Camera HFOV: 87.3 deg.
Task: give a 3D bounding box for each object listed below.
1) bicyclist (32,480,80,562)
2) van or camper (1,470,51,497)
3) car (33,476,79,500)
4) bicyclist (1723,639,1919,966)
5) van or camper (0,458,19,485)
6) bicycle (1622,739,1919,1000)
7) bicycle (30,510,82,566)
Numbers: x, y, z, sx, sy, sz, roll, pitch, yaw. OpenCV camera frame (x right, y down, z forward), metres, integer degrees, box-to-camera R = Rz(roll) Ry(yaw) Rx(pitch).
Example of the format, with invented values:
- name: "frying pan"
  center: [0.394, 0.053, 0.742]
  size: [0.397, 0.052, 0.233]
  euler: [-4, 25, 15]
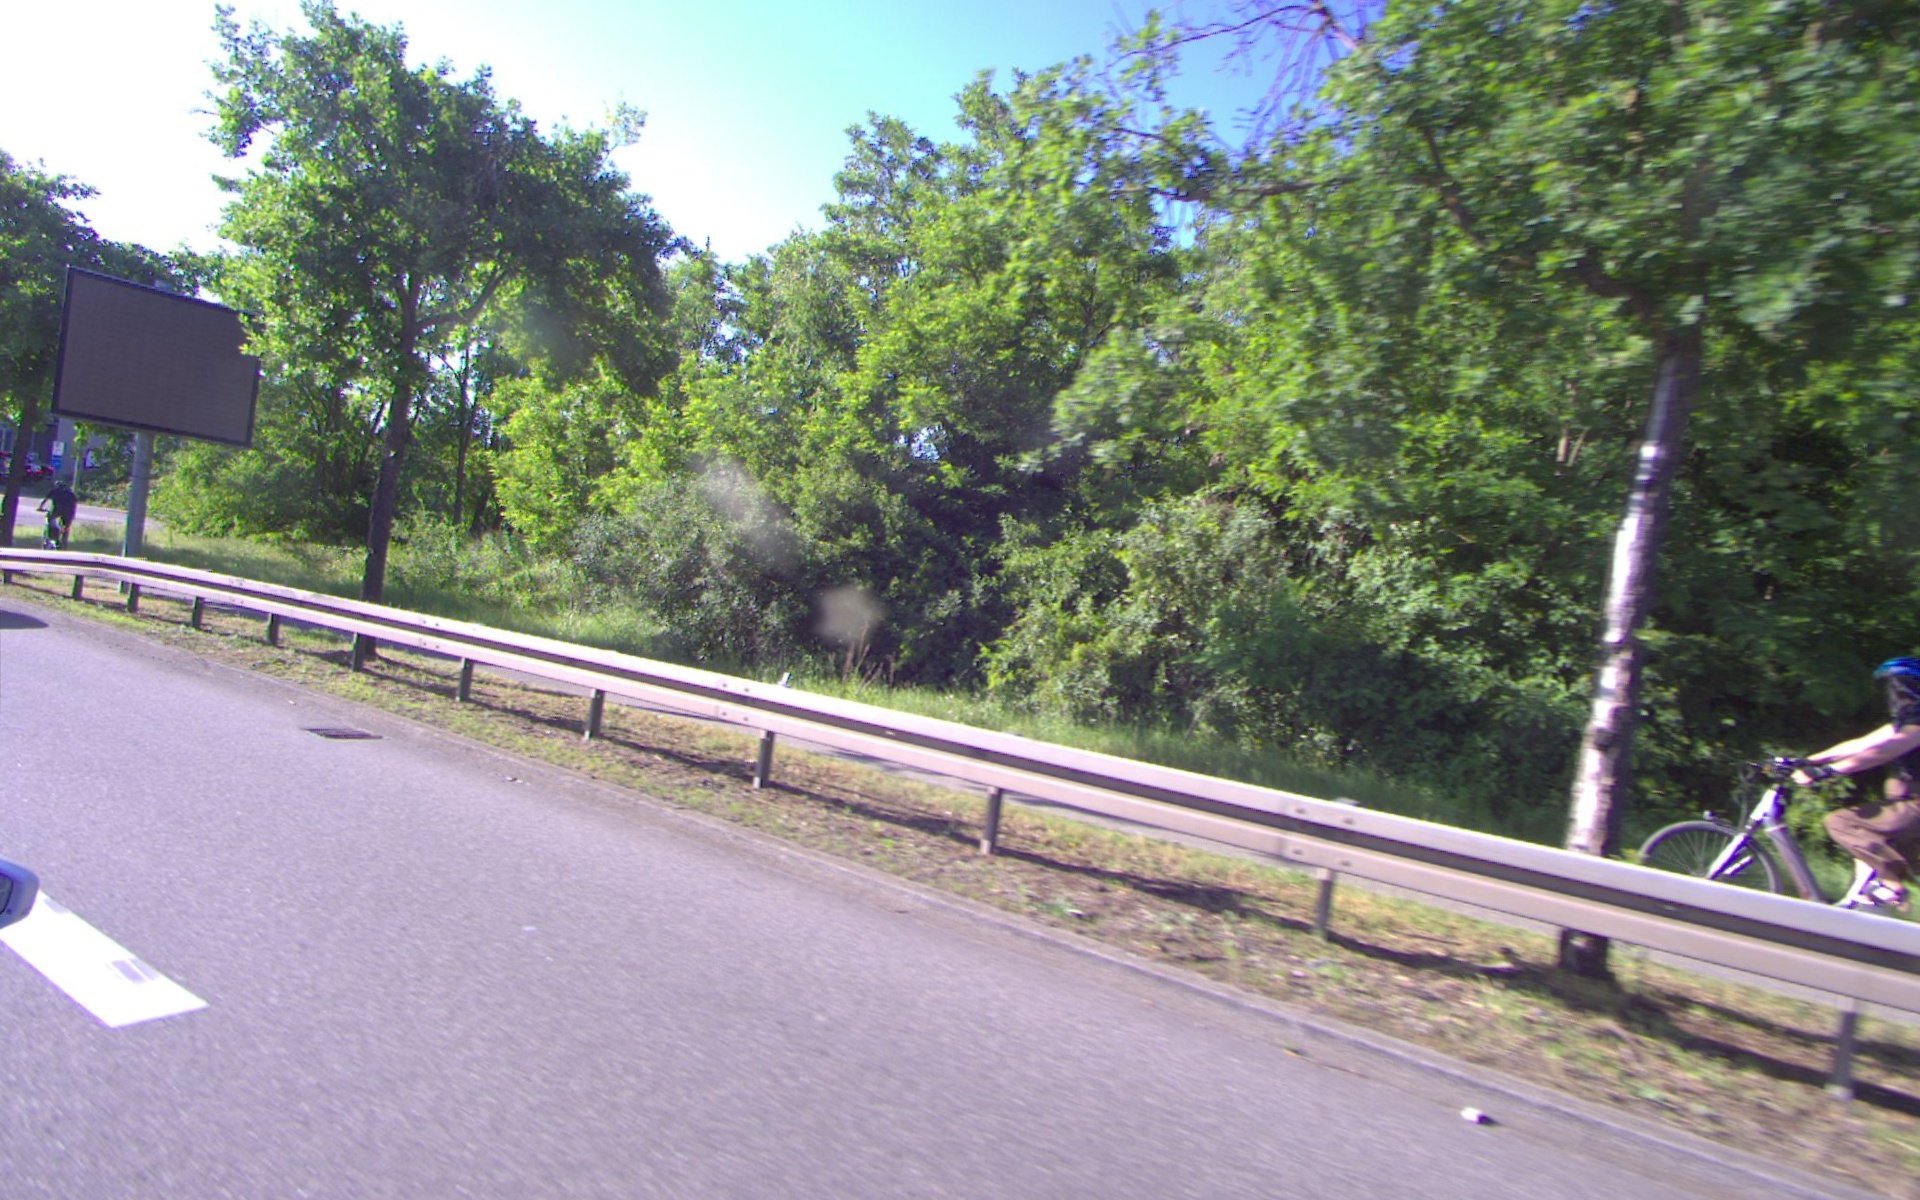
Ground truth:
- name: "bicyclist"
  center: [-21.237, -1.849, 23.631]
  size: [0.935, 1.800, 0.673]
  euler: [8, 3, 43]
- name: "van or camper"
  center: [-80.437, -9.995, 86.679]
  size: [1.738, 1.835, 3.934]
  euler: [9, 0, -24]
- name: "car"
  center: [-75.123, -9.285, 83.655]
  size: [1.693, 1.541, 3.719]
  euler: [9, 0, -24]
- name: "bicyclist"
  center: [5.002, 1.081, 5.590]
  size: [0.988, 1.599, 0.707]
  euler: [8, 2, 34]
- name: "van or camper"
  center: [-70.166, -9.469, 72.749]
  size: [1.812, 1.812, 4.510]
  euler: [9, 0, -29]
- name: "bicycle"
  center: [4.900, 1.500, 5.634]
  size: [1.890, 1.088, 0.701]
  euler: [7, 2, 34]
- name: "bicycle"
  center: [-21.081, -1.459, 23.444]
  size: [2.089, 1.109, 0.693]
  euler: [8, 2, 43]
